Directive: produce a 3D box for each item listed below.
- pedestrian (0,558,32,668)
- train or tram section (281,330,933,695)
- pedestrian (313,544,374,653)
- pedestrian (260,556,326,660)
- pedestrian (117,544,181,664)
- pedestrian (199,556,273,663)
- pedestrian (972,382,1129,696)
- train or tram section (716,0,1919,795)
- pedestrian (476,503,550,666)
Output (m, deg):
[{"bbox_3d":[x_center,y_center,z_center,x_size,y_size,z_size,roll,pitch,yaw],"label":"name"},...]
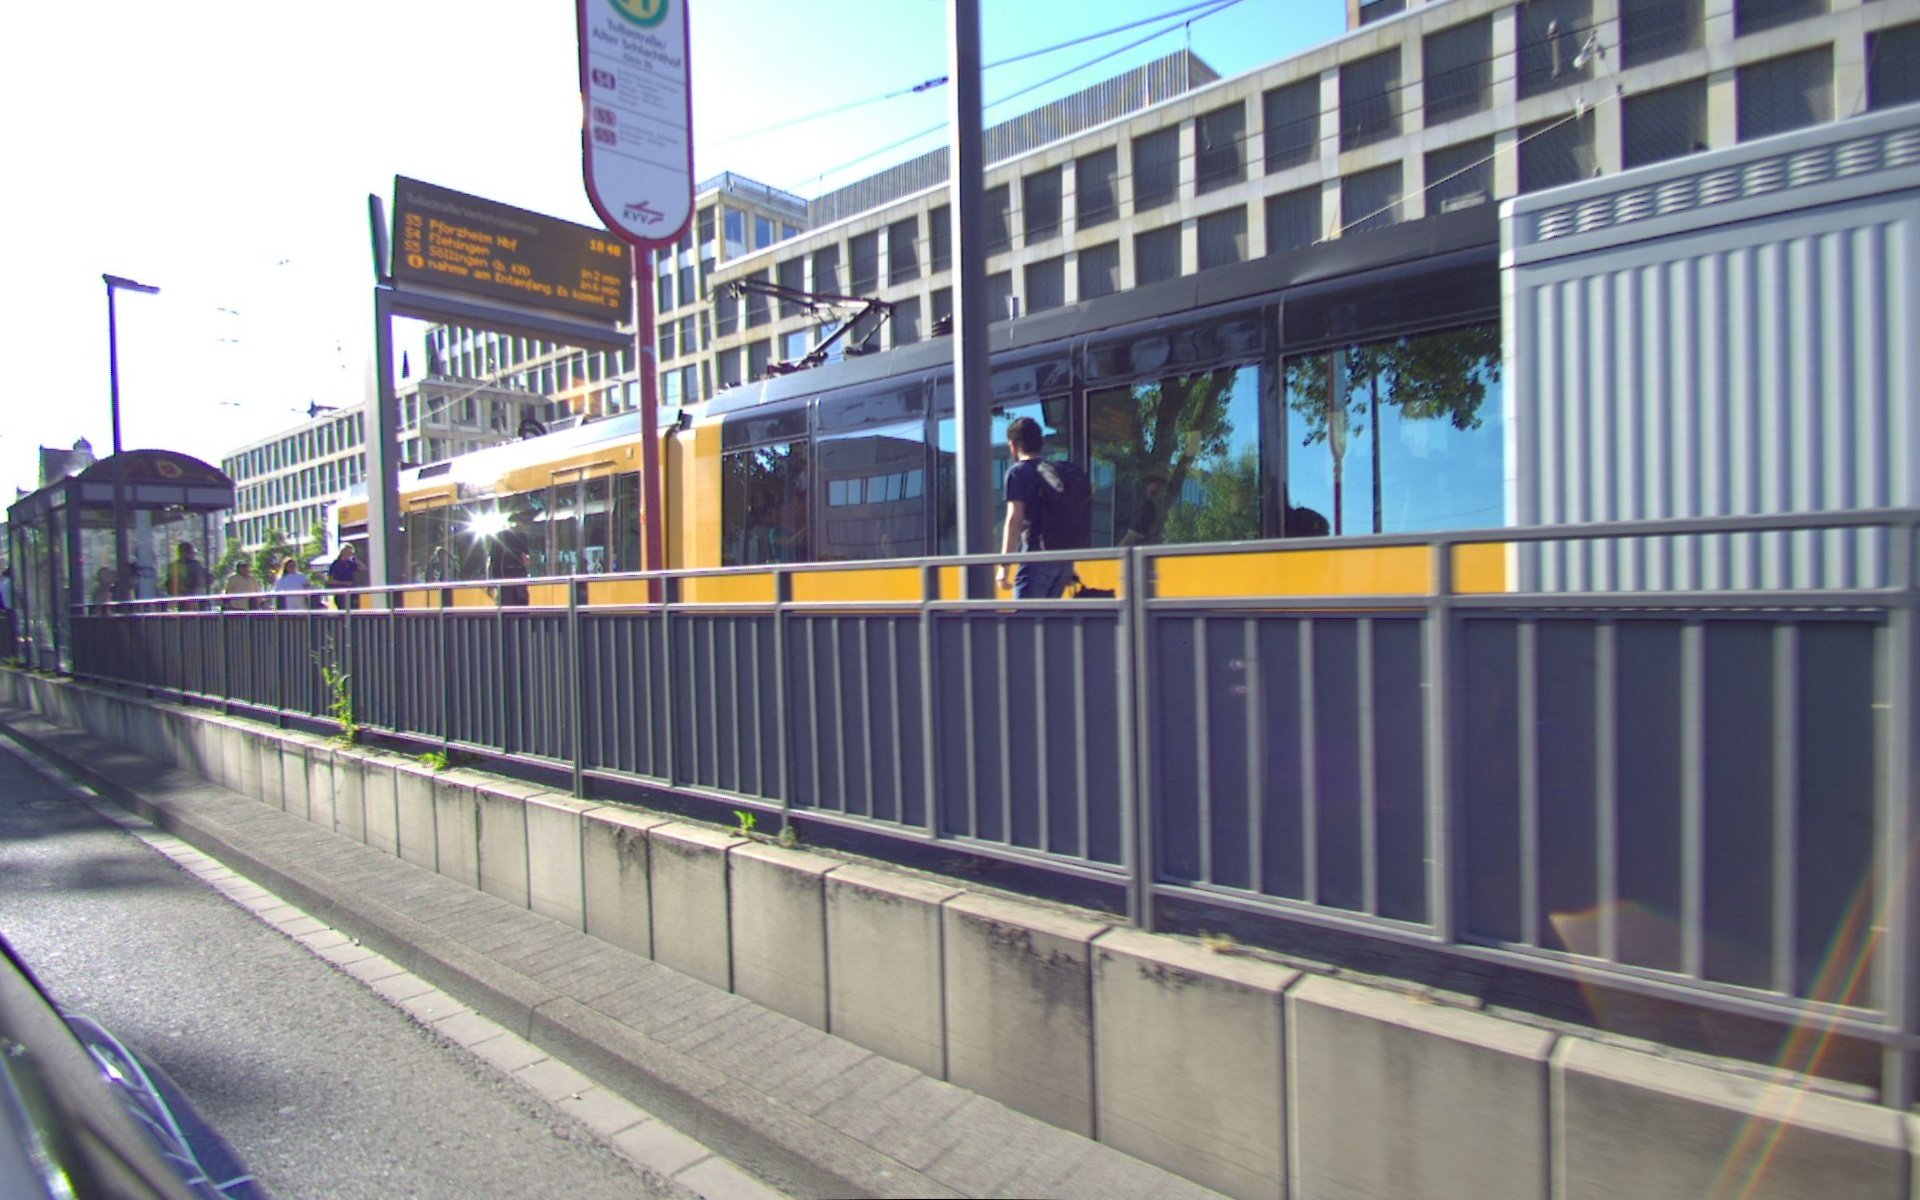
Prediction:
[{"bbox_3d":[-15.812,0.212,16.710,0.613,1.797,0.605,-1,1,41],"label":"pedestrian"},{"bbox_3d":[-6.863,-0.887,16.588,14.209,3.858,3.276,-1,1,41],"label":"train or tram section"},{"bbox_3d":[-10.403,-0.029,17.072,0.774,1.797,0.605,-1,1,41],"label":"pedestrian"},{"bbox_3d":[-11.917,0.126,18.075,0.625,1.797,0.785,-1,1,41],"label":"pedestrian"},{"bbox_3d":[-12.534,0.051,15.640,0.681,1.797,0.603,-1,1,41],"label":"pedestrian"},{"bbox_3d":[-12.541,0.152,17.554,0.640,1.797,0.795,-2,1,0],"label":"pedestrian"},{"bbox_3d":[0.541,-0.339,6.013,0.659,1.726,0.605,-1,1,39],"label":"pedestrian"},{"bbox_3d":[3.017,-1.025,8.143,11.835,3.858,3.276,-1,1,41],"label":"train or tram section"},{"bbox_3d":[-5.455,-0.184,12.342,0.644,1.919,0.547,-1,1,41],"label":"pedestrian"}]
